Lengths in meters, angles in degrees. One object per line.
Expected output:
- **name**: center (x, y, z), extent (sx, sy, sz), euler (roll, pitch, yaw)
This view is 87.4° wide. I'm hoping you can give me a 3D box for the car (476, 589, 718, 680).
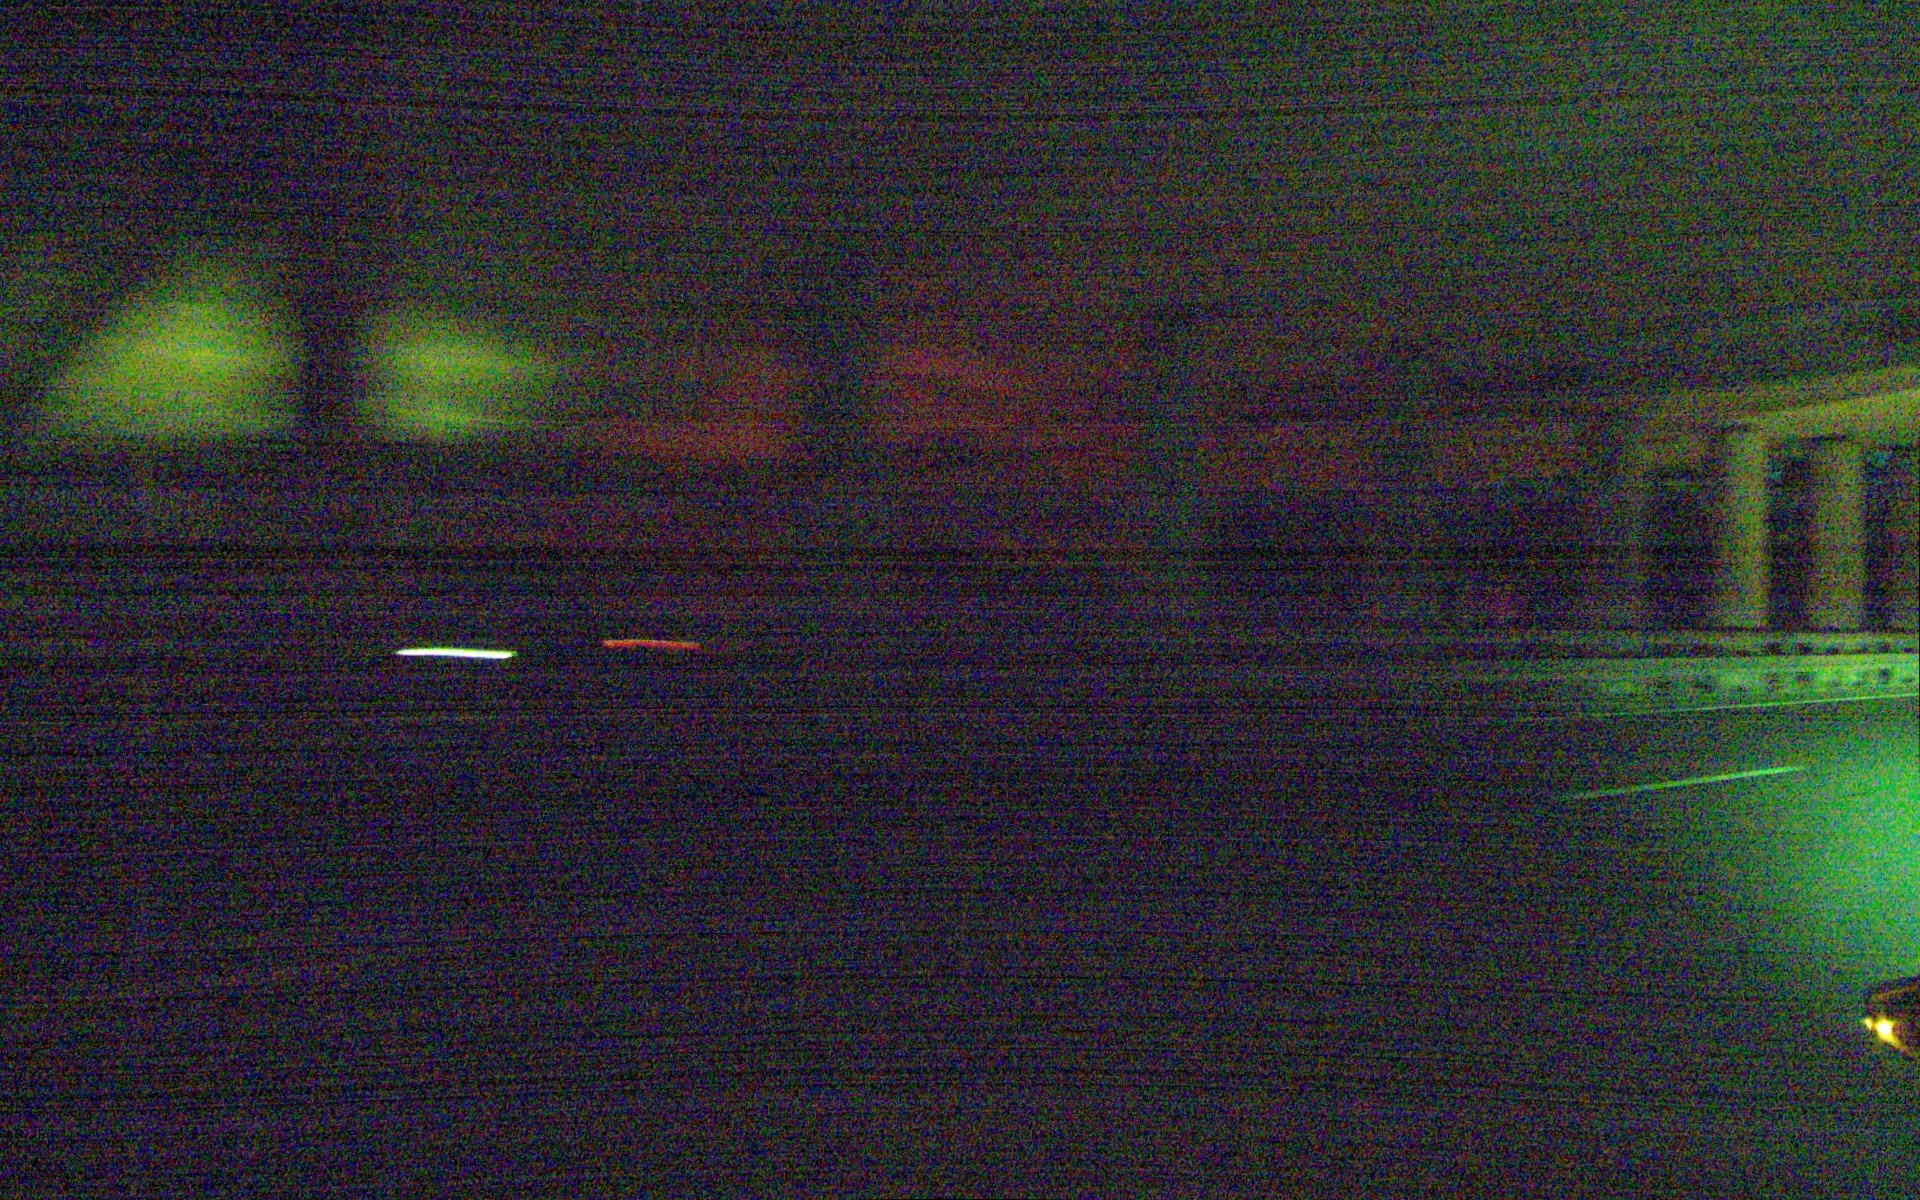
- **car**: center (-6.710, 0.616, 18.627), extent (3.953, 1.528, 1.817), euler (2, 0, -30)
